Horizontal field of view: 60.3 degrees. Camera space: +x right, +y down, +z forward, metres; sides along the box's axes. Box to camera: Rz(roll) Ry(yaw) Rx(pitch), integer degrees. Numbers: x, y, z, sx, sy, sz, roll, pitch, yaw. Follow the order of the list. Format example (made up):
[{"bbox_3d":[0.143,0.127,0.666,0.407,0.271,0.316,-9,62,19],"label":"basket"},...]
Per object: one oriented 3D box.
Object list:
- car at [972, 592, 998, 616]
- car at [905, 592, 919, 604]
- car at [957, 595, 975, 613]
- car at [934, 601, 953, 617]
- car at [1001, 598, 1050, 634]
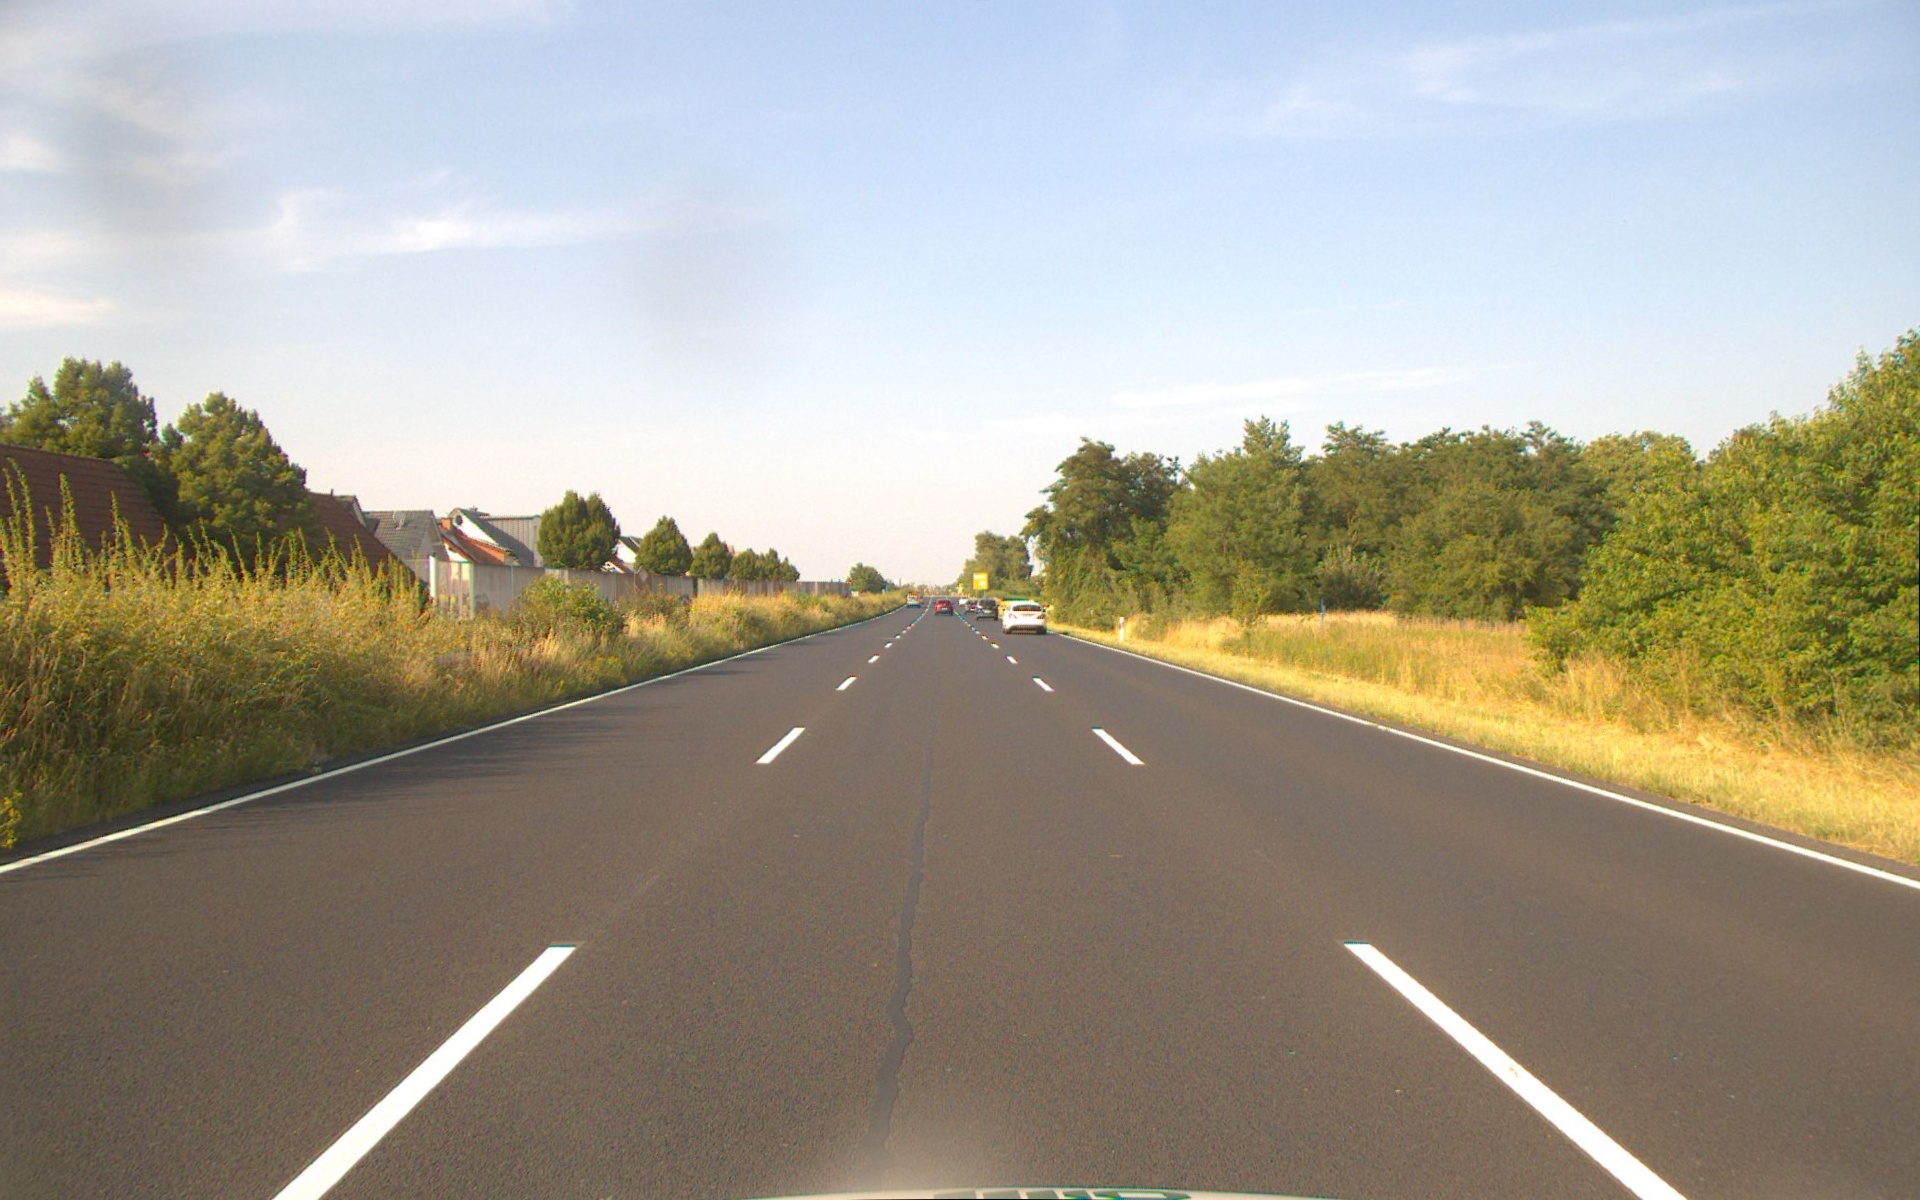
[{"bbox_3d":[1.927,0.328,128.195,1.791,1.758,3.999,1,0,-1],"label":"car"},{"bbox_3d":[-6.568,-0.283,226.190,1.722,1.646,4.000,1,0,1],"label":"car"},{"bbox_3d":[0.603,0.434,171.303,1.796,1.747,3.861,1,0,-1],"label":"car"},{"bbox_3d":[-1.566,0.893,157.769,1.775,1.461,3.857,1,0,-2],"label":"car"},{"bbox_3d":[2.898,0.731,74.274,1.953,1.543,3.999,1,0,-1],"label":"car"}]
